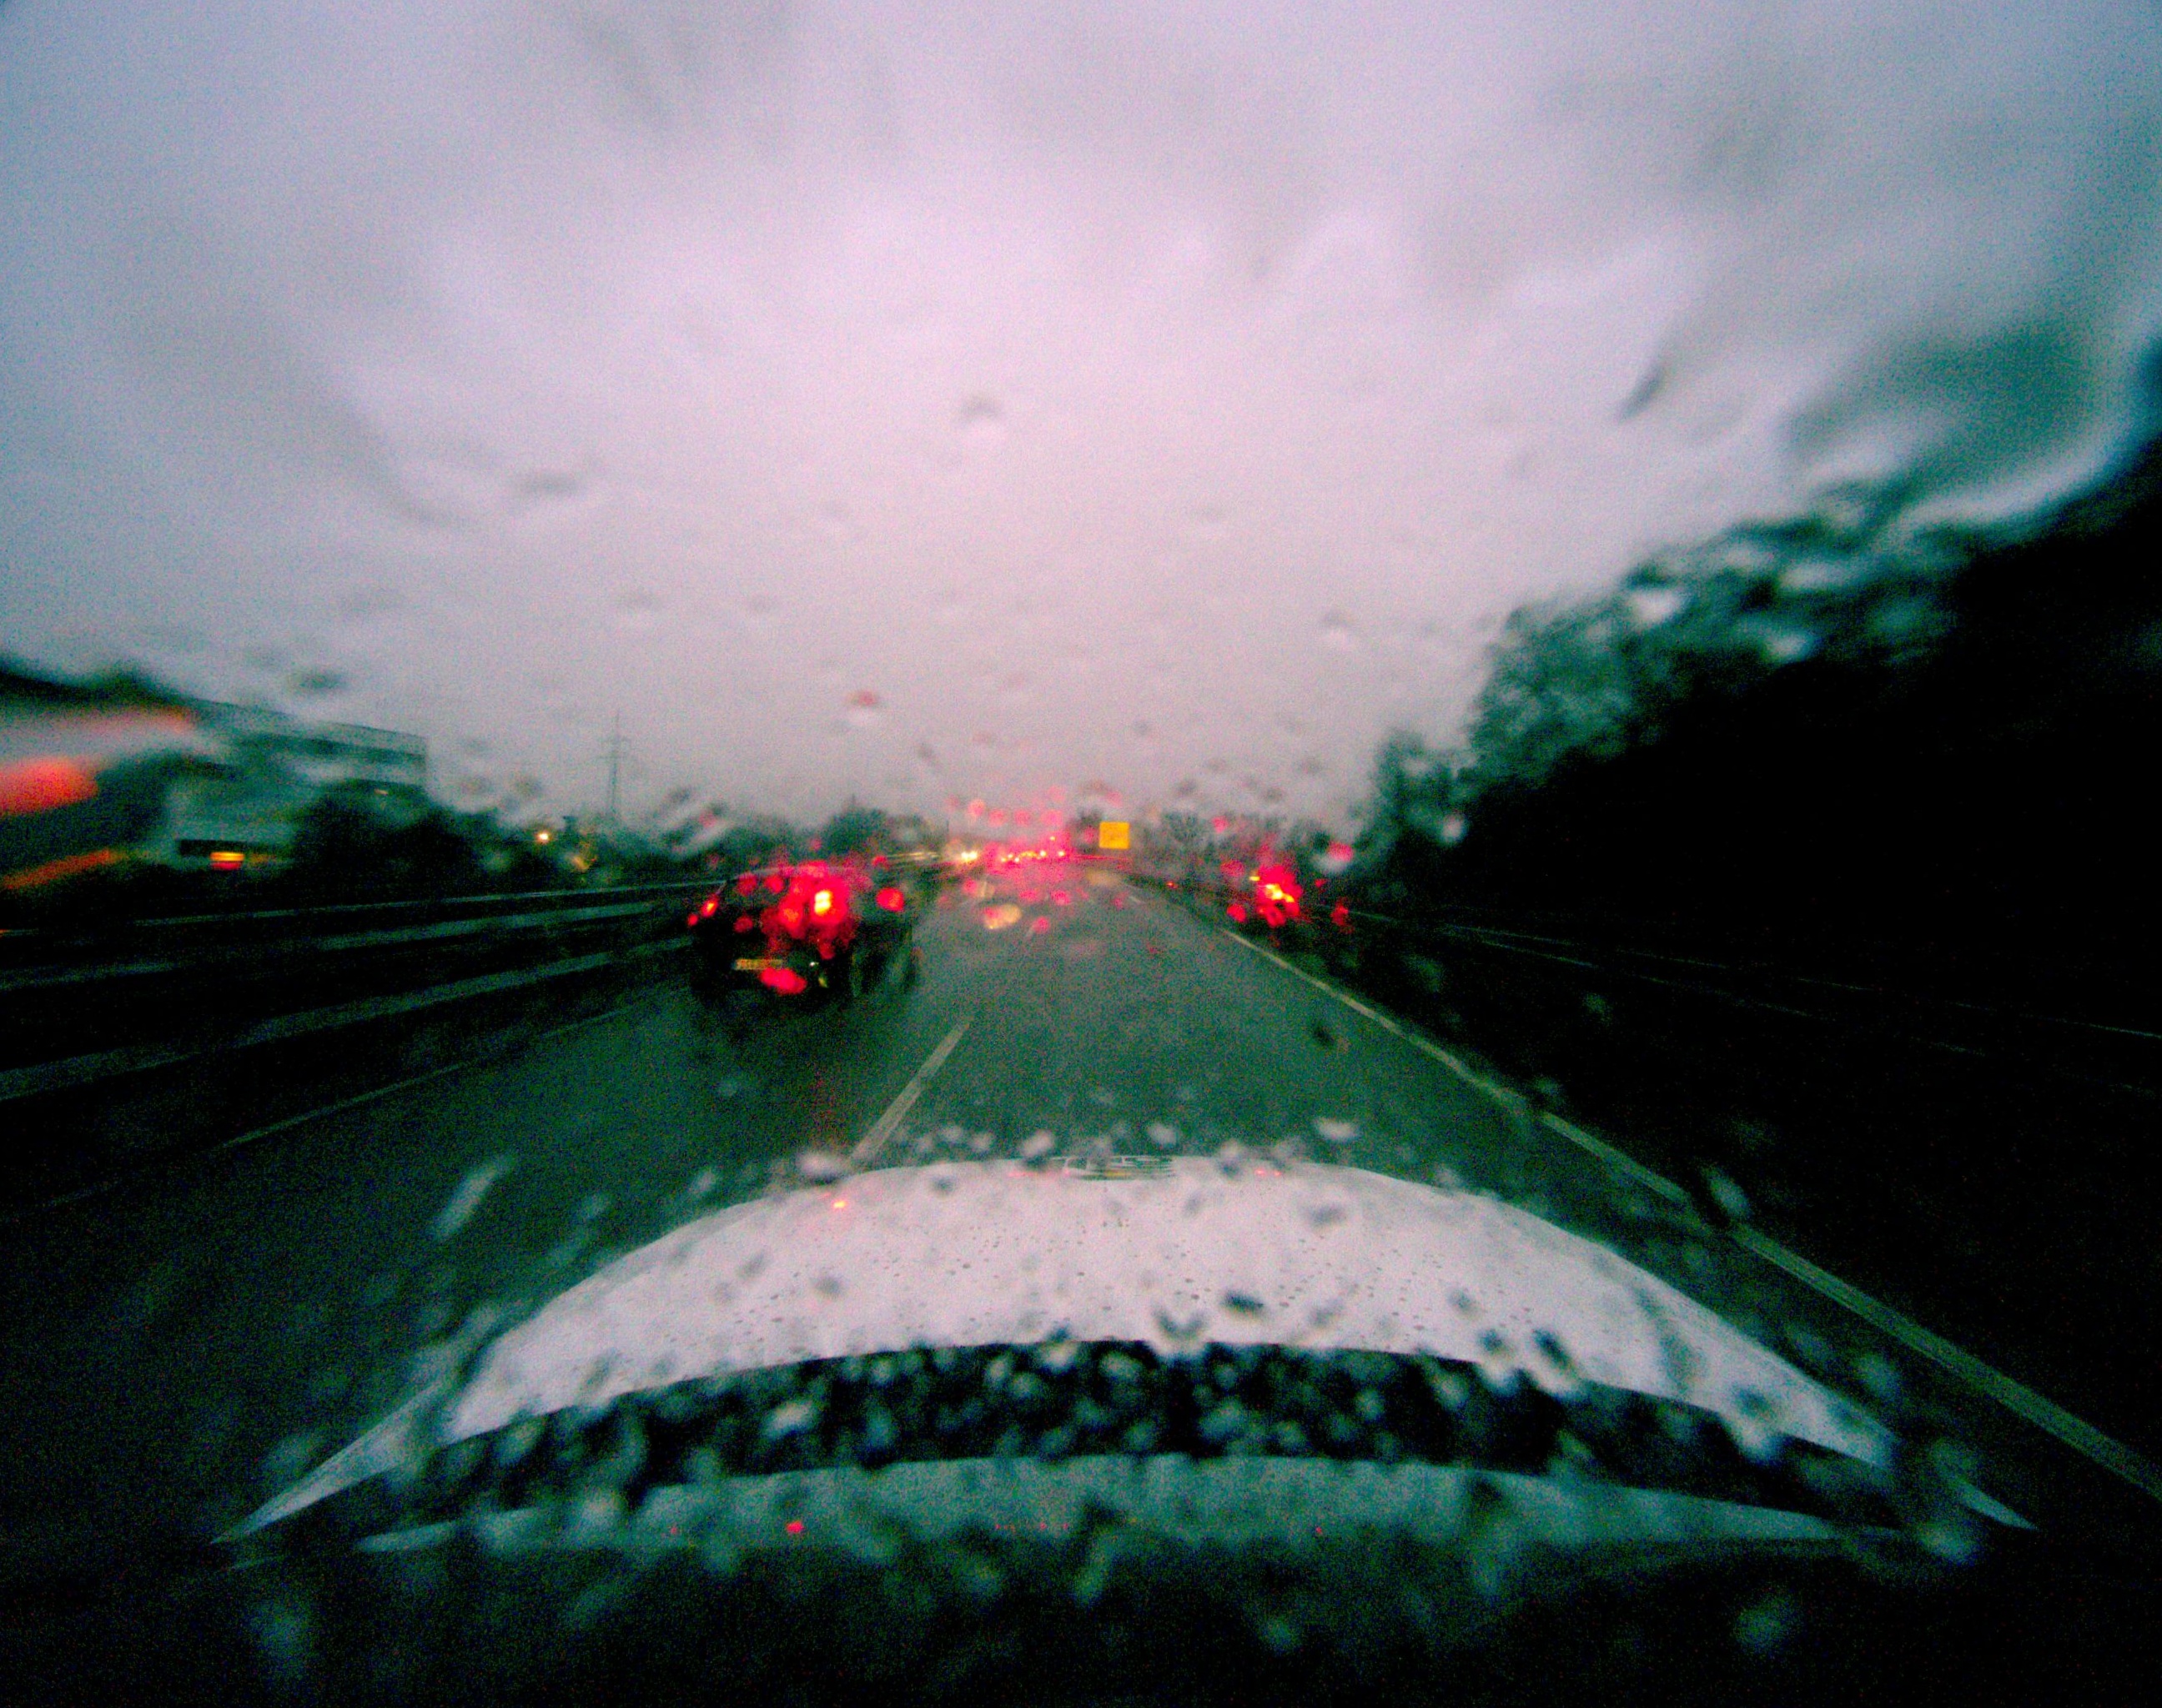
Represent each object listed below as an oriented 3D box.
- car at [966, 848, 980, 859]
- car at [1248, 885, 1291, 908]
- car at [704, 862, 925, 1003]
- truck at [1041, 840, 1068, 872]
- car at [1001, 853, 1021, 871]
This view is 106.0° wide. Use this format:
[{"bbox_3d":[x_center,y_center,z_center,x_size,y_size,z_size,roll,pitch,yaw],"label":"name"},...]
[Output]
[{"bbox_3d":[-17.303,-0.075,130.281,1.680,1.406,4.485,-1,-4,-13],"label":"car"},{"bbox_3d":[13.020,2.910,56.576,1.673,1.282,3.993,6,-2,-5],"label":"car"},{"bbox_3d":[-3.139,0.833,10.444,1.621,1.392,3.996,-1,0,-2],"label":"car"},{"bbox_3d":[-2.631,0.213,80.448,2.379,2.909,4.664,0,-3,-5],"label":"truck"},{"bbox_3d":[-6.759,0.776,78.791,1.832,1.538,3.991,1,-4,-5],"label":"car"}]
